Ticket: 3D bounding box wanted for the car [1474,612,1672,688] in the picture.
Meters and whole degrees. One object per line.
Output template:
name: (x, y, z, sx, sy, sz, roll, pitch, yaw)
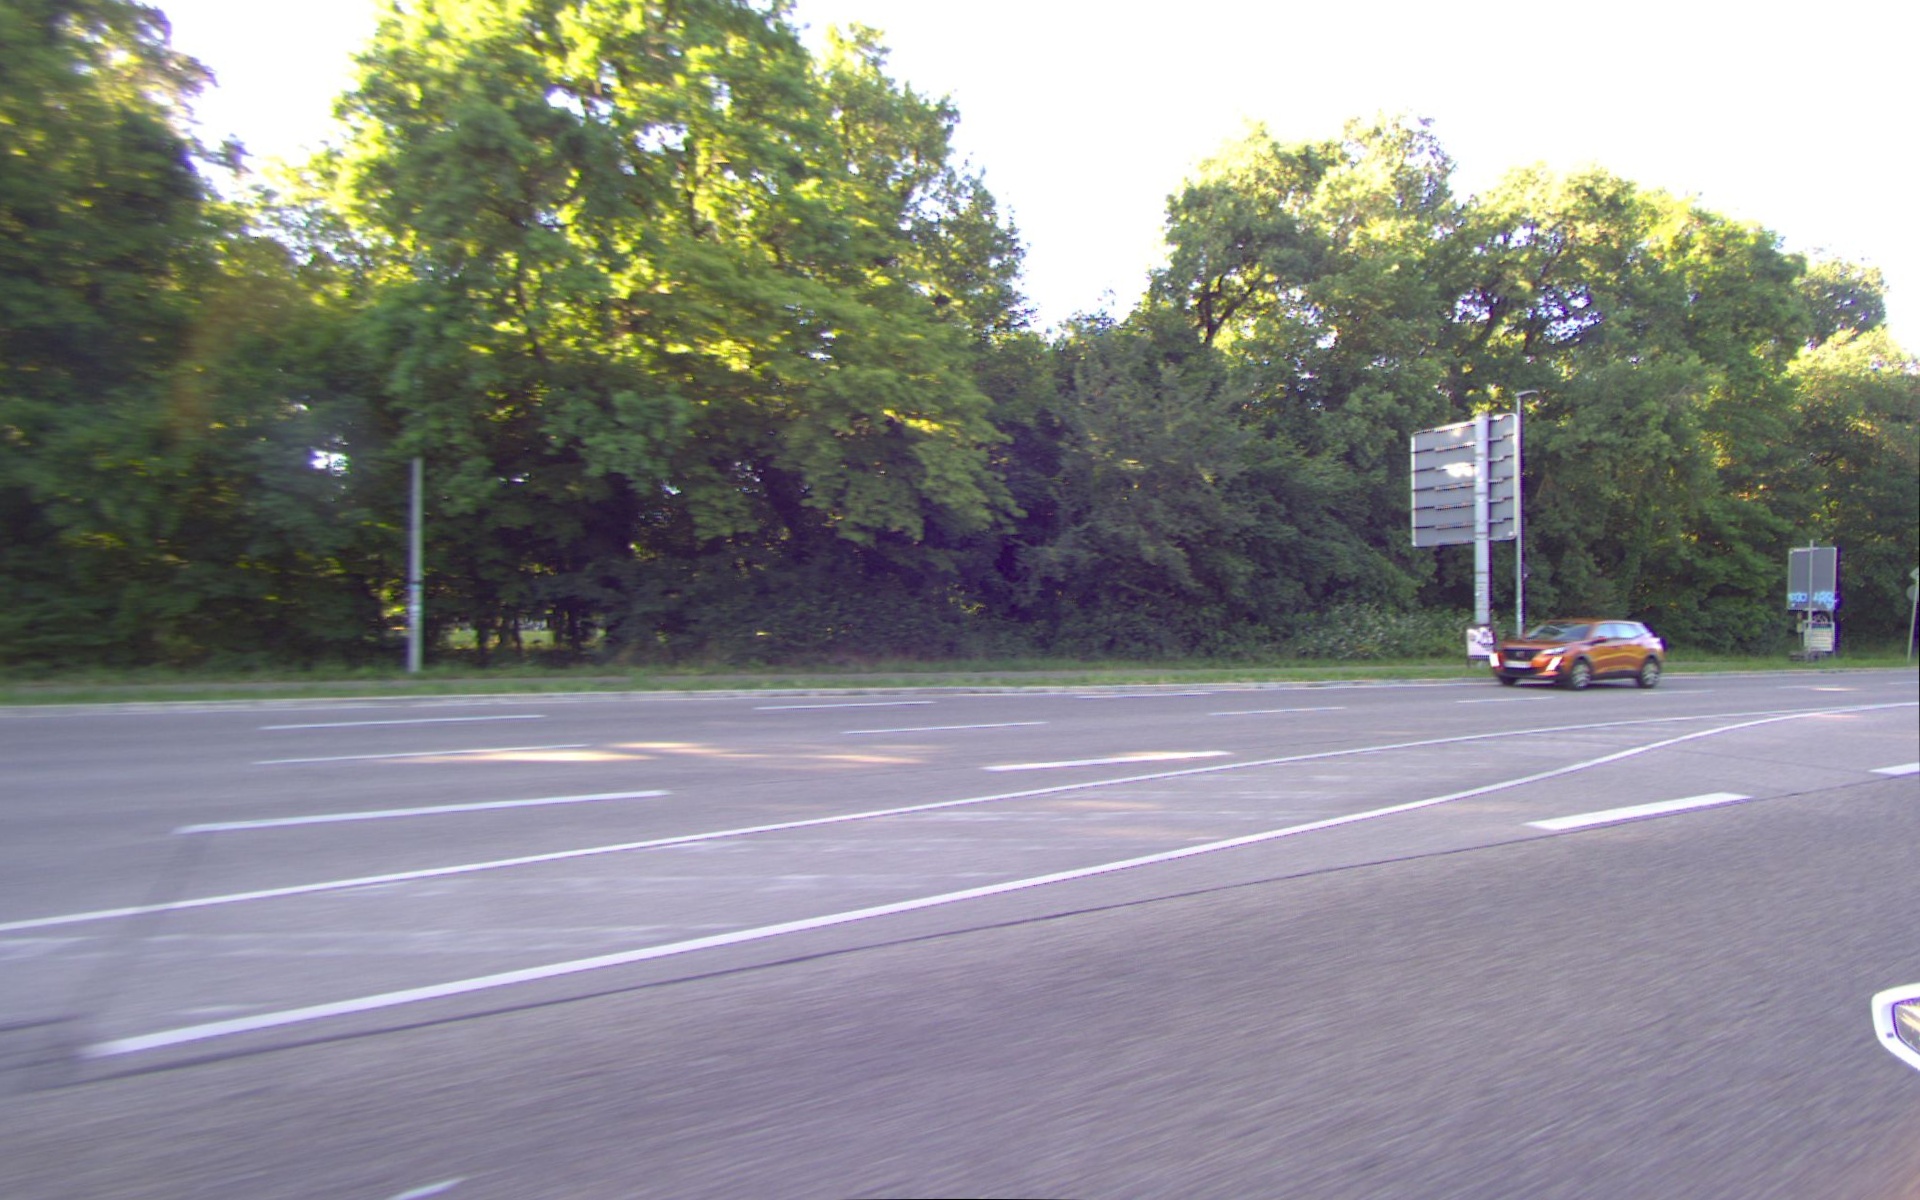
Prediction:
car: (13.699, 1.080, 22.423, 4.200, 1.565, 1.819, 1, -1, -26)
